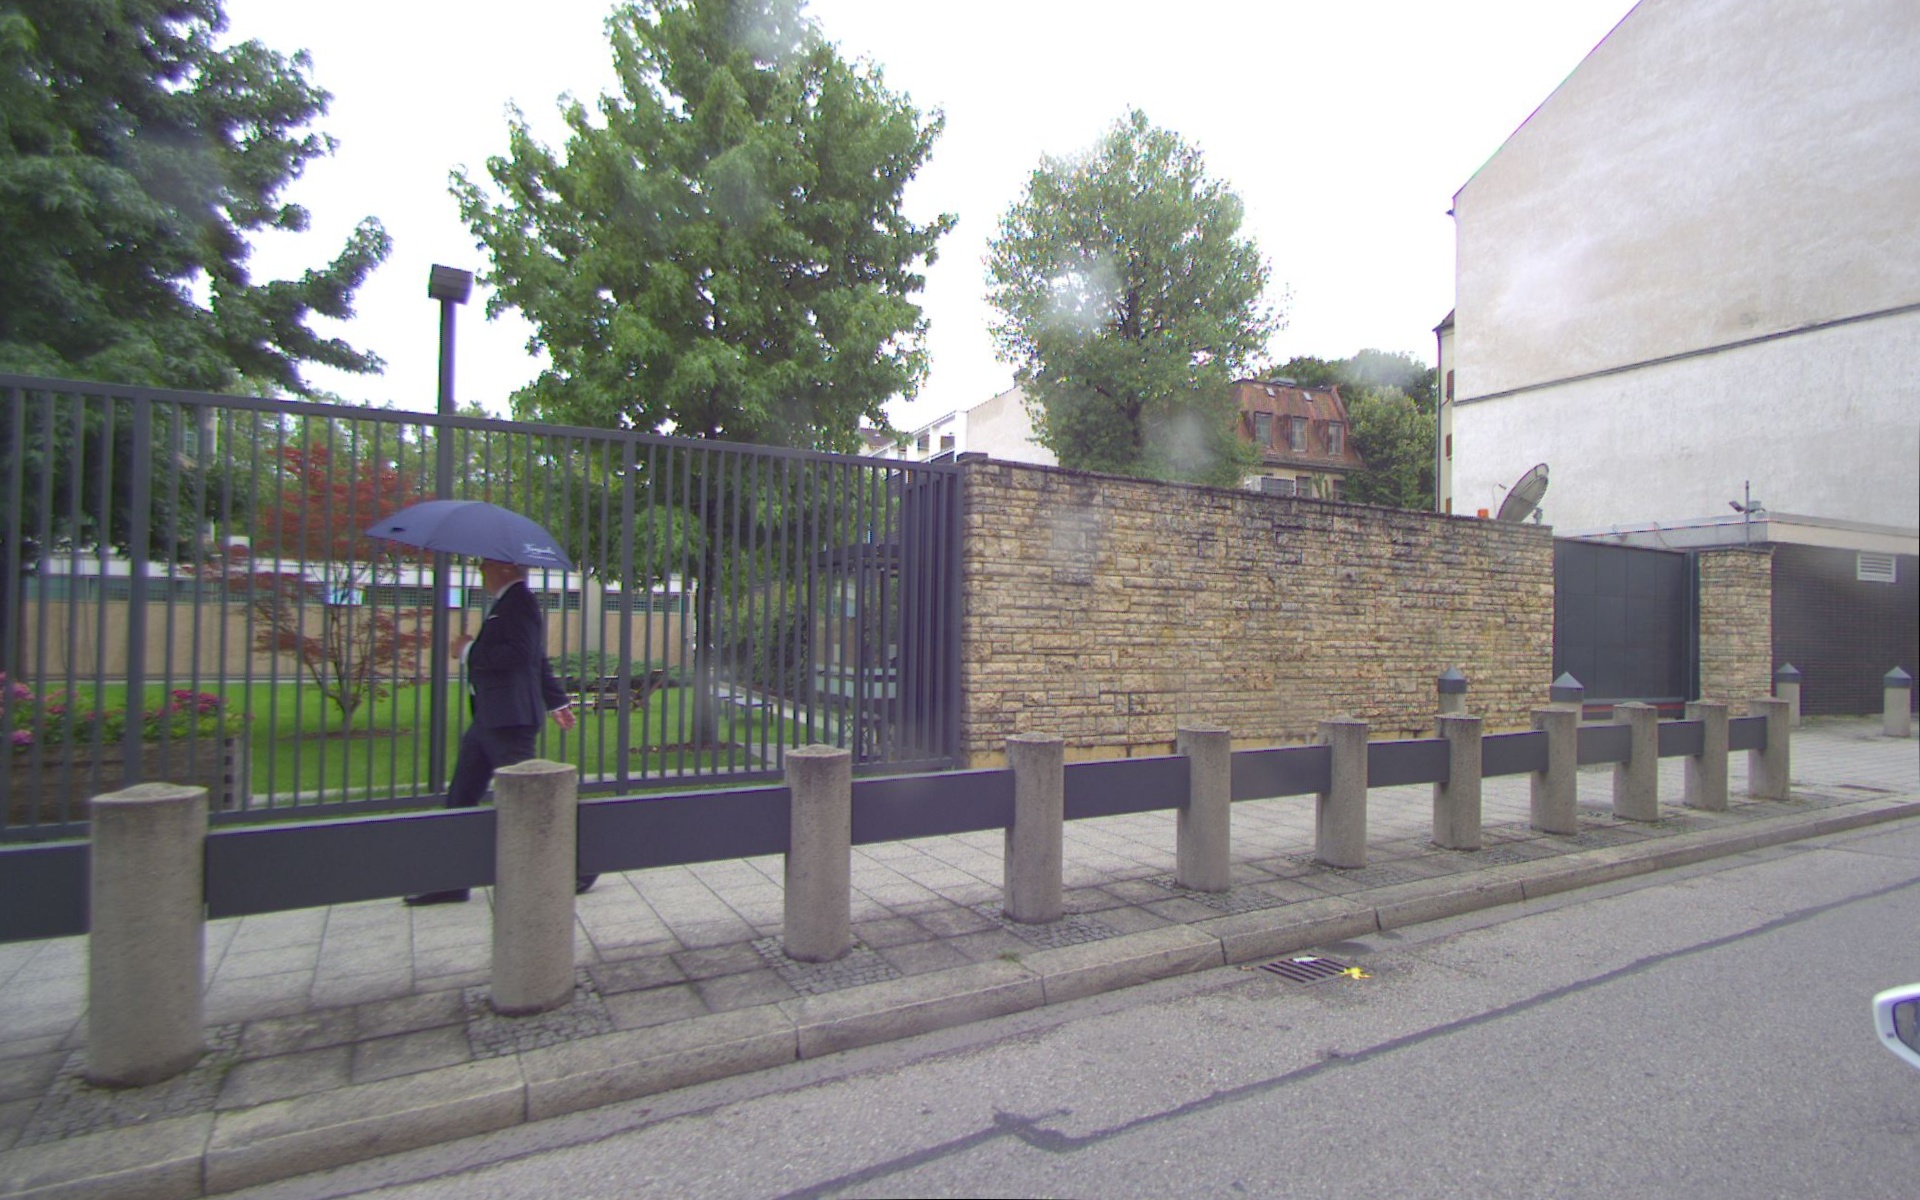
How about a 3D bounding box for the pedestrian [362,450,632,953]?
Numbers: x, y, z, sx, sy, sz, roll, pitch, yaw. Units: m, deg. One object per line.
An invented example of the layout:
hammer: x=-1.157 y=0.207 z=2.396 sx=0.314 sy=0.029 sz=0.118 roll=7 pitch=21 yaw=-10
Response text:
pedestrian: x=-2.324 y=0.446 z=5.067 sx=1.102 sy=2.132 sz=1.218 roll=0 pitch=-1 yaw=-28
